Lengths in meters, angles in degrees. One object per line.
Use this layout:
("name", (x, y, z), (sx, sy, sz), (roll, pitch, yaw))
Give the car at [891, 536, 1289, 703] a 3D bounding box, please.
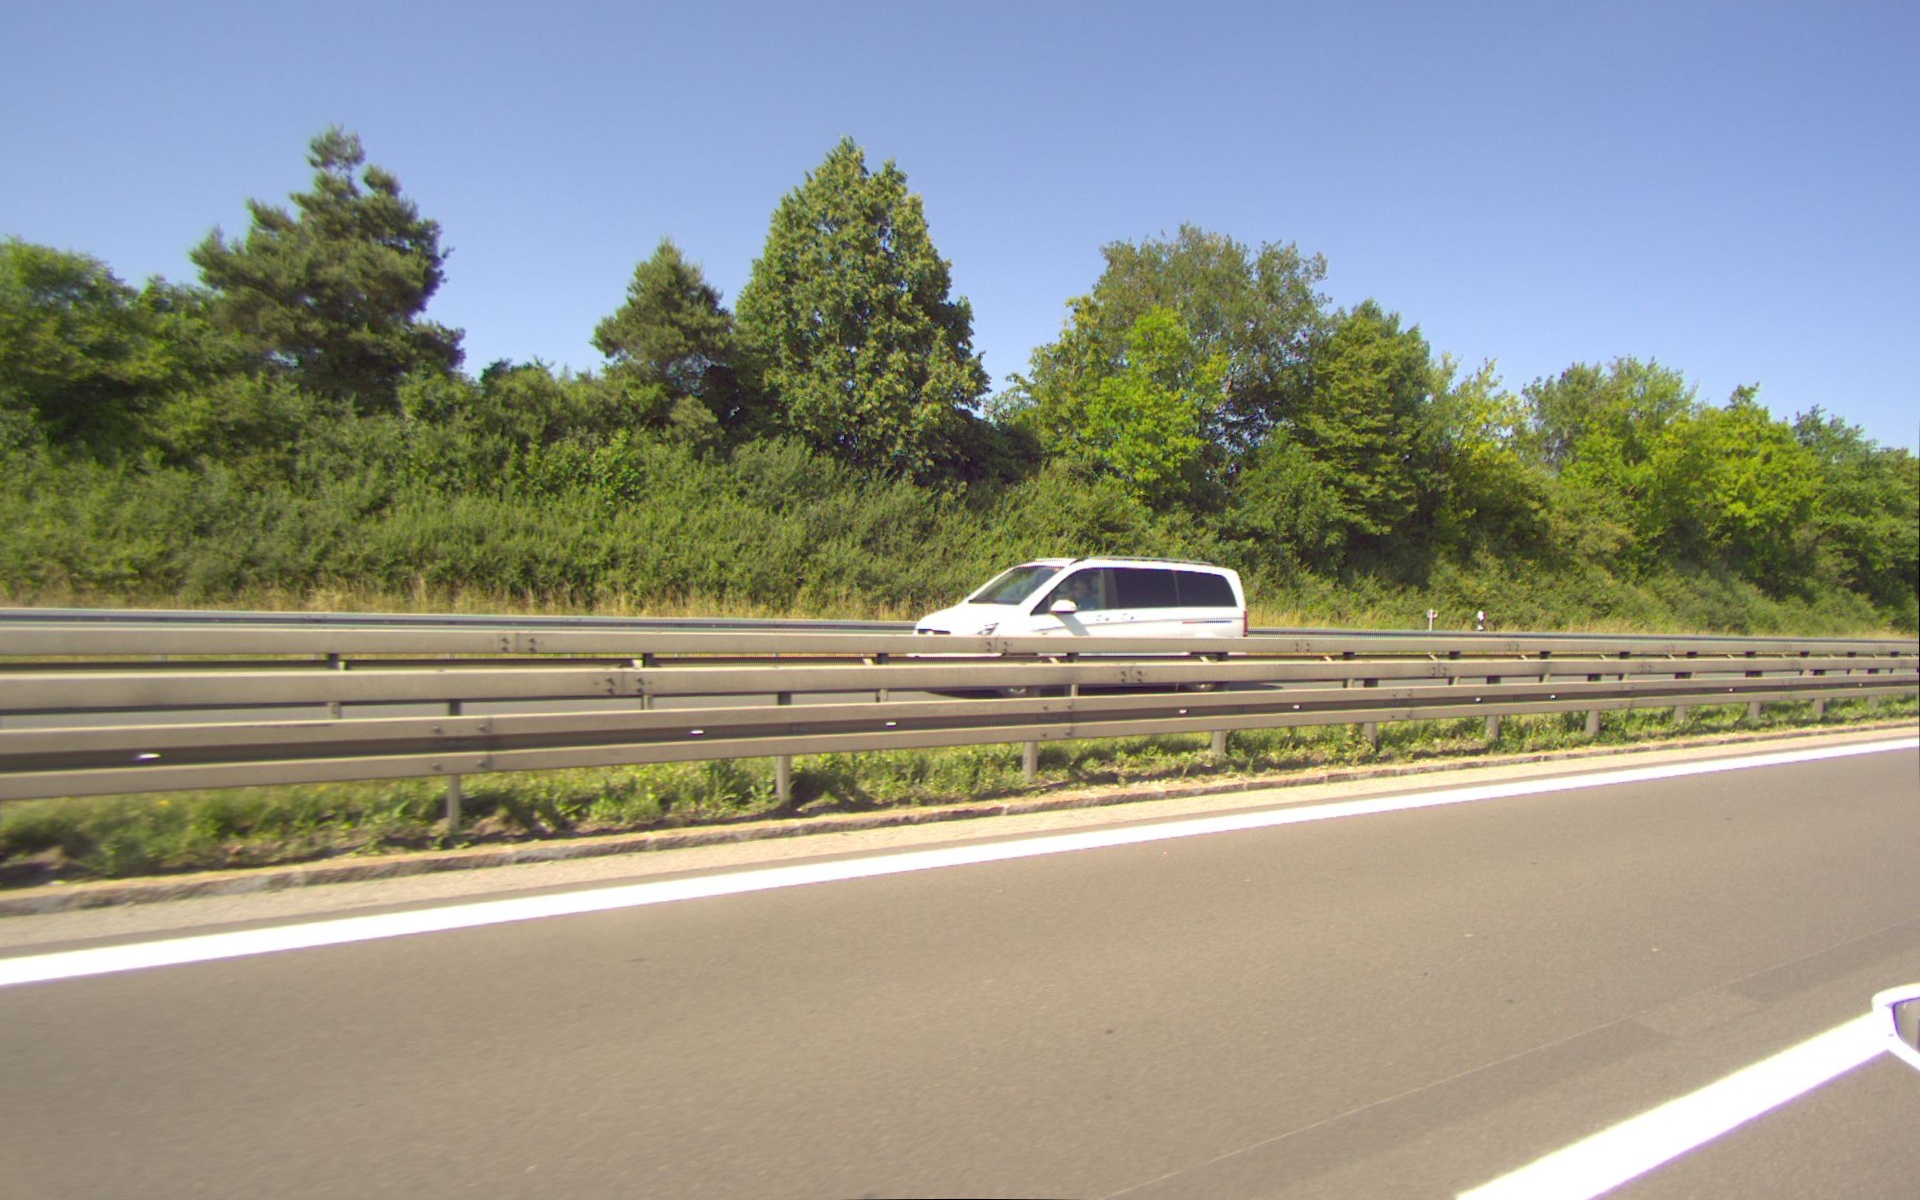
("car", (1.977, 0.274, 14.449), (5.625, 2.016, 1.984), (2, 1, -30))
